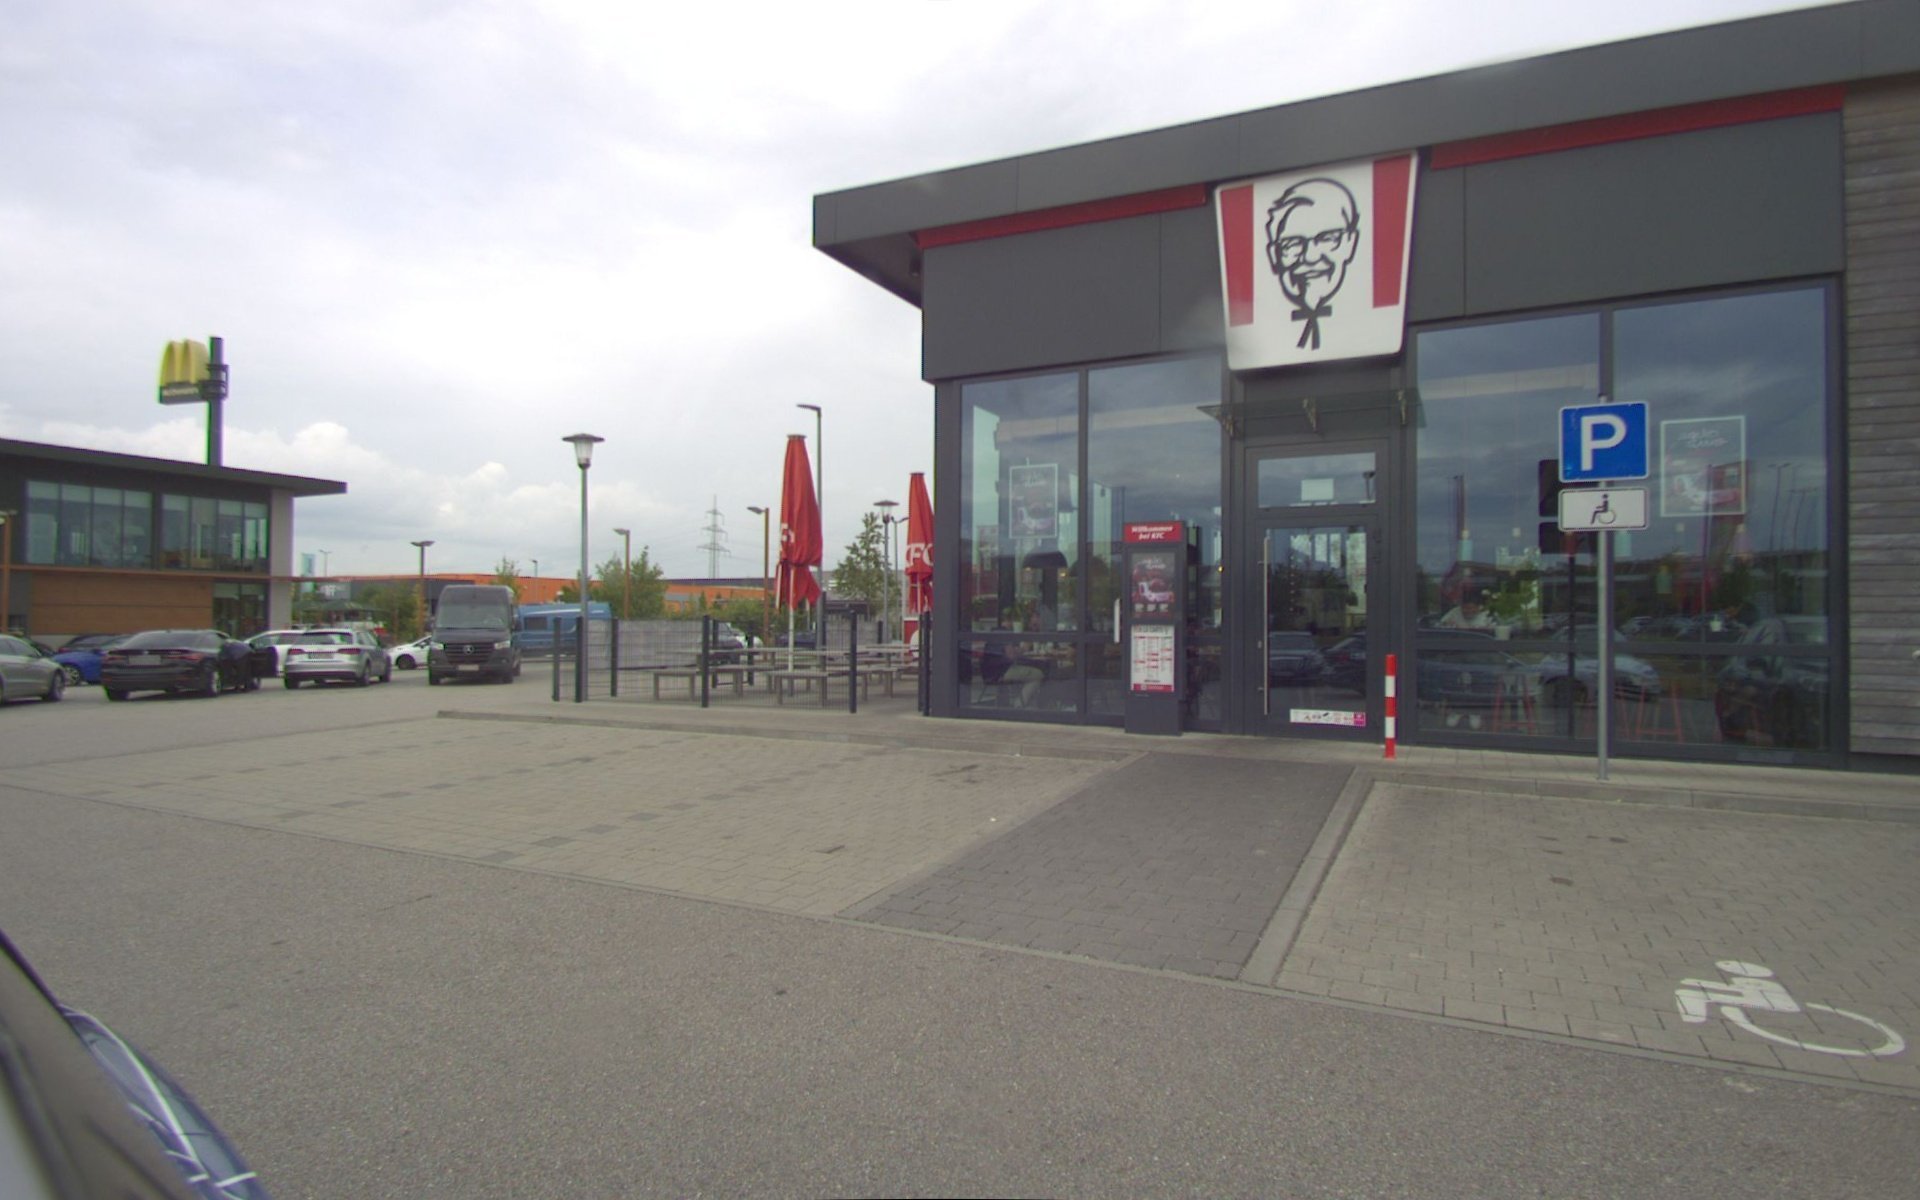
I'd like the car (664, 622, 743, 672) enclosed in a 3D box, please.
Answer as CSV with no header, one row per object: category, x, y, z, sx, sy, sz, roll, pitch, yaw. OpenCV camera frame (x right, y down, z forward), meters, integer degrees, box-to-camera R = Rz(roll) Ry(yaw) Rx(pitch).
car,-9.735,1.779,38.098,1.965,1.741,4.912,2,-3,-25

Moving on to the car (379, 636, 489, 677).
car,-19.785,2.110,38.229,3.512,1.465,1.848,0,-3,-21

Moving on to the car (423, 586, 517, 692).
car,-13.488,1.104,28.195,2.037,2.573,7.035,0,-3,-23

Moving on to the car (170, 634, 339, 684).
car,-22.145,1.854,31.960,4.040,1.478,1.786,1,-4,-23

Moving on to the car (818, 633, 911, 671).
car,-3.813,2.068,40.170,3.468,1.386,1.614,2,-3,-14

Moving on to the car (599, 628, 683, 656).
car,-19.511,2.553,61.861,4.921,1.614,2.054,0,-2,28

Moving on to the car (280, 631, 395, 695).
car,-15.678,1.563,25.687,1.658,1.462,4.012,0,-3,-19

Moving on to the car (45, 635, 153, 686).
car,-32.686,2.271,38.582,1.865,1.674,4.273,2,-1,-23

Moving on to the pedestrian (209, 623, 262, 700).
pedestrian,-16.129,1.362,22.559,0.736,1.690,0.845,1,-3,-22

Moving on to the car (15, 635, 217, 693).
car,-23.689,1.811,28.575,3.931,1.521,1.775,2,-3,-18

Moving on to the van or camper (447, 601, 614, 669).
van or camper,-18.527,1.515,44.003,6.463,2.721,2.178,-1,-3,-15

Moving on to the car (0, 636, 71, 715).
car,-18.488,1.406,18.743,1.723,1.423,4.474,0,-3,-23

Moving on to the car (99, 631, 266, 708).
car,-16.764,1.464,22.075,1.658,1.474,4.421,0,-3,-20

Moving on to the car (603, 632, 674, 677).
car,-11.292,1.861,35.352,1.801,1.422,4.013,0,-2,-26

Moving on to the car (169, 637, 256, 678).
car,-31.469,2.387,42.742,1.759,1.498,4.013,2,-1,-19
